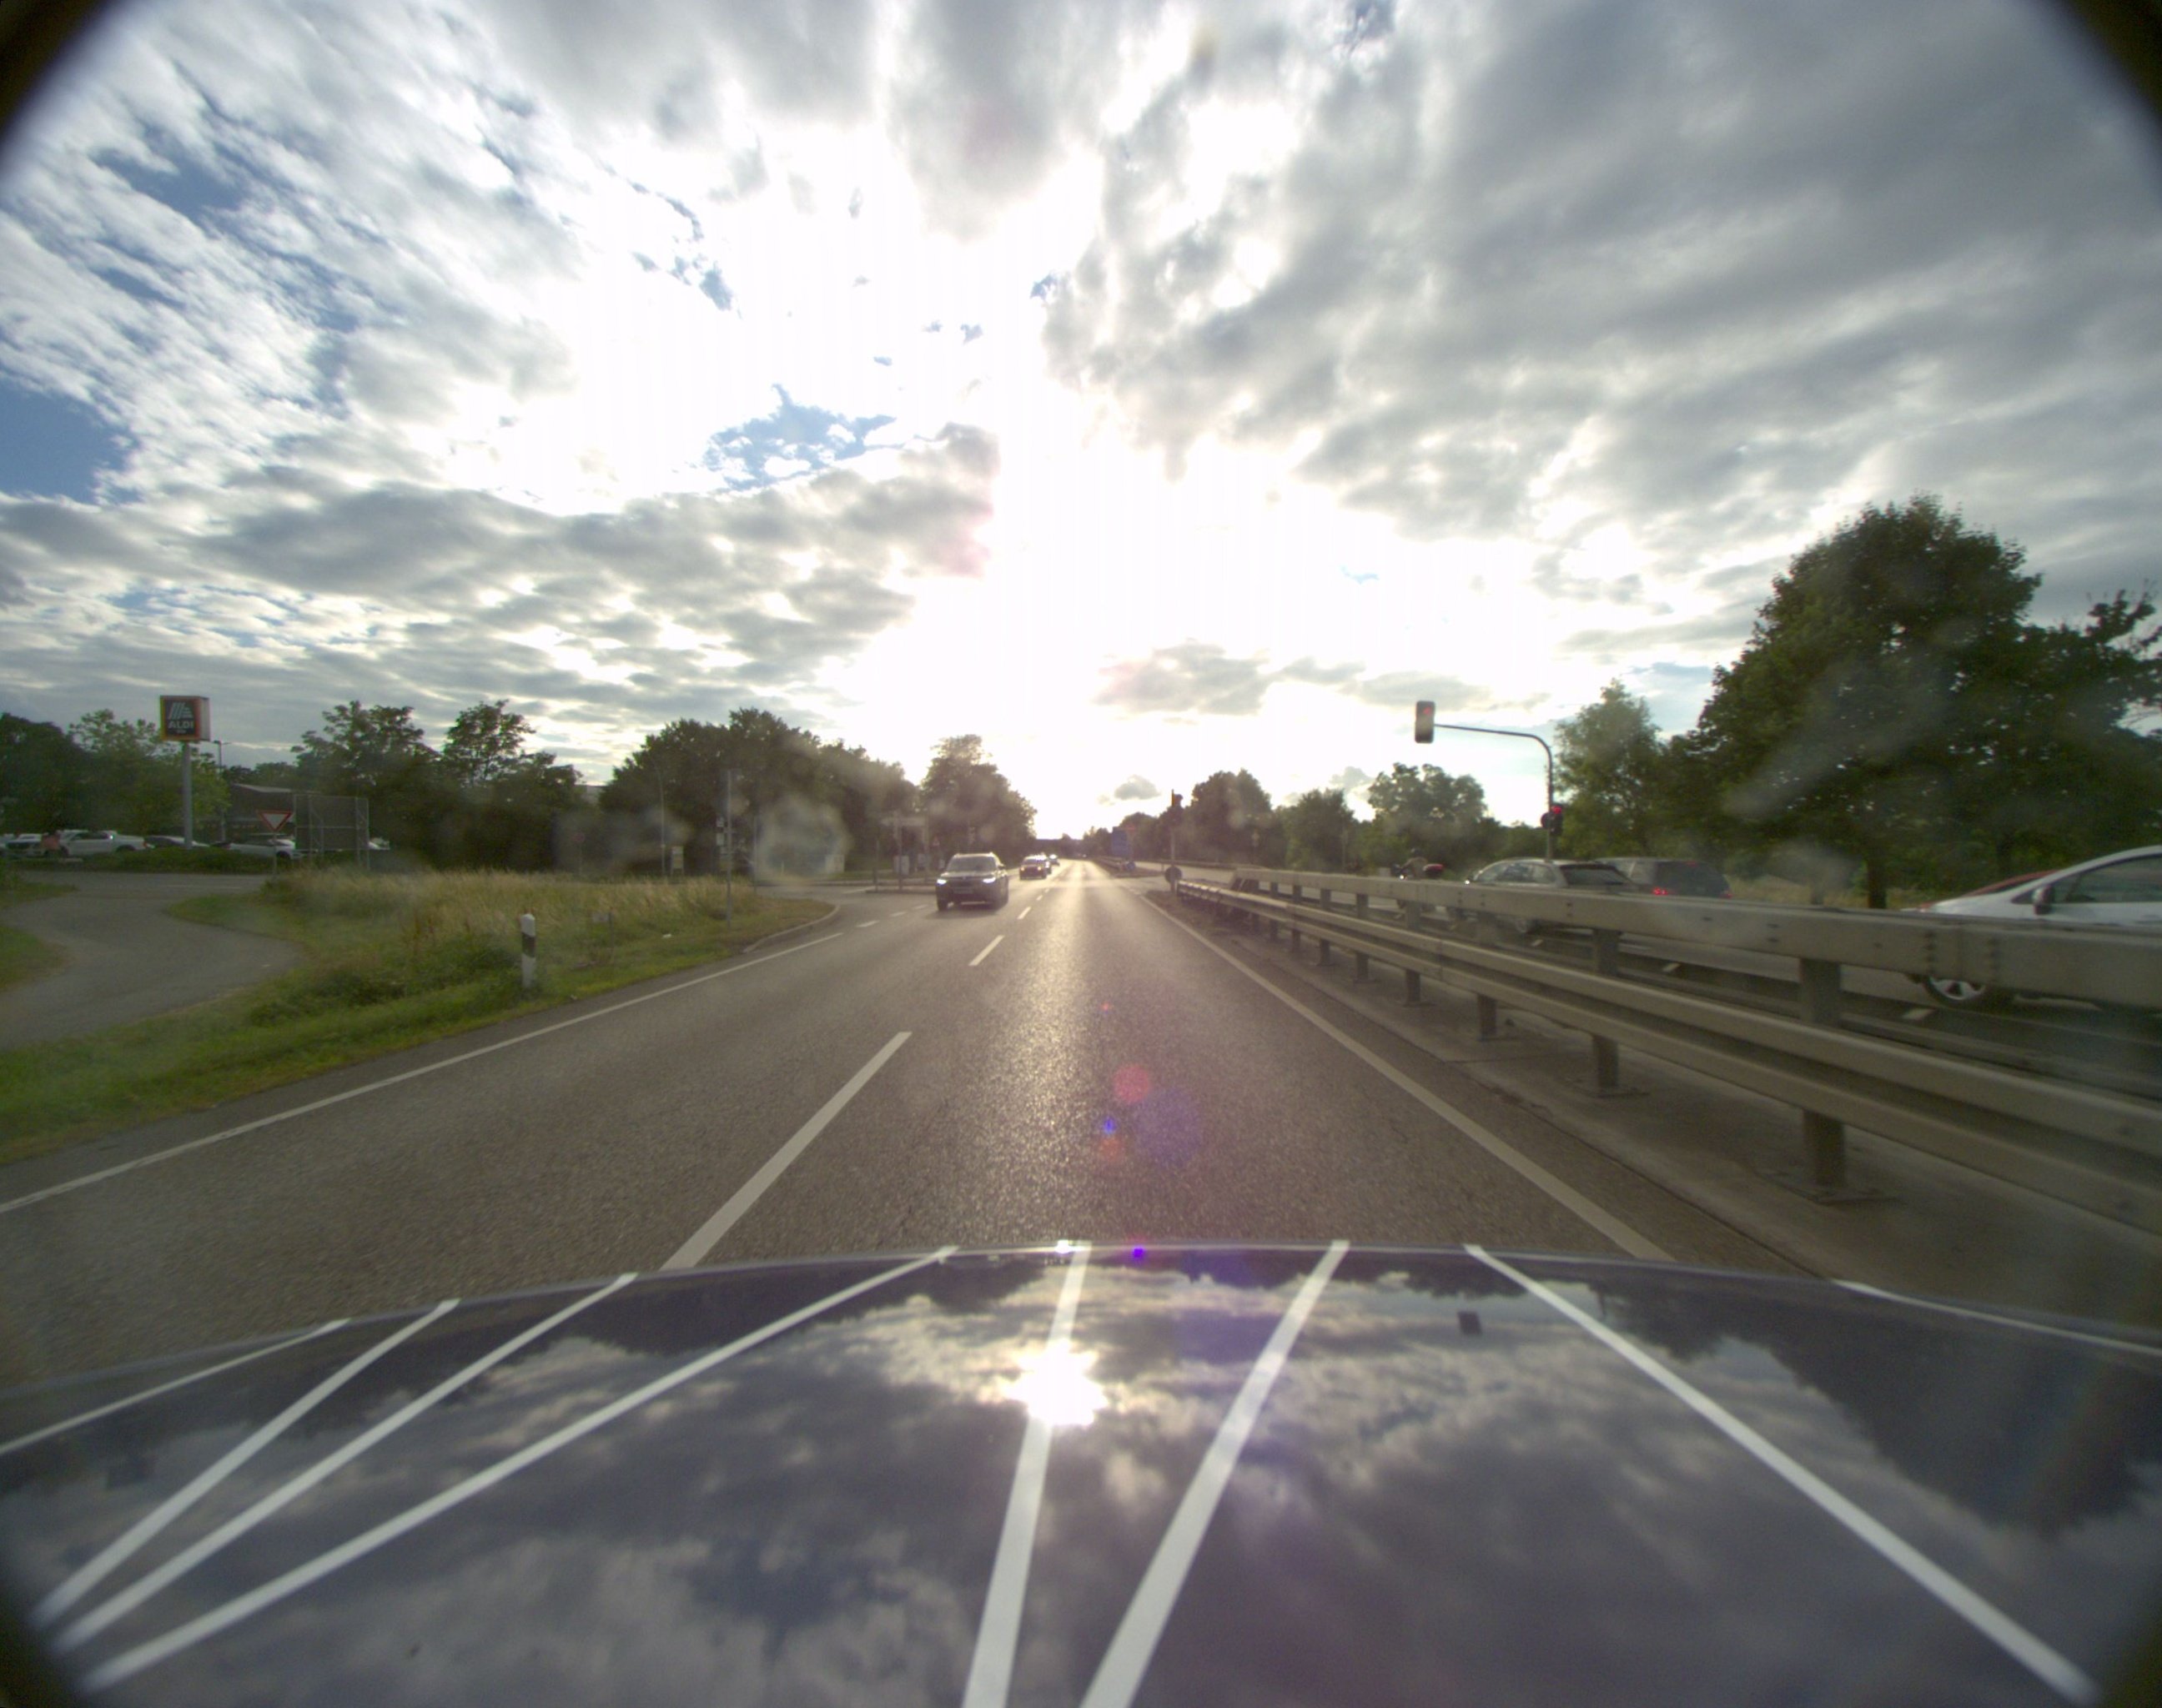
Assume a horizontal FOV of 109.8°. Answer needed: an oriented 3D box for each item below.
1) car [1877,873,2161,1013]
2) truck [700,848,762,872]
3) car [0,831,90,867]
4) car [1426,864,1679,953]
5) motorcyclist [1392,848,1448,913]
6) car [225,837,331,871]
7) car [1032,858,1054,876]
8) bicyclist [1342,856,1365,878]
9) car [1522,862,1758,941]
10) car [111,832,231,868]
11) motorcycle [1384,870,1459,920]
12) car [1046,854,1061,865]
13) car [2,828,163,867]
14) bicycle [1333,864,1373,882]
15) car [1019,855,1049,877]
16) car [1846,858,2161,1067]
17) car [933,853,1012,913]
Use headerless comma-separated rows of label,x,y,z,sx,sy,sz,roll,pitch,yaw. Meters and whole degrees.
car,12.888,1.026,9.288,1.912,1.456,4.184,0,0,0
truck,-31.185,0.548,67.751,4.679,1.985,1.819,-2,0,-36
car,-57.833,-0.289,41.539,1.960,1.873,4.302,2,0,-7
car,9.133,0.946,15.416,1.912,1.420,5.151,0,0,0
motorcyclist,9.207,0.694,20.707,0.918,1.699,1.276,1,1,0
car,-49.399,0.004,46.837,4.303,1.873,1.960,2,0,-3
car,-3.170,1.062,64.402,1.700,1.407,3.999,-2,0,-1
bicyclist,17.621,0.828,49.176,1.225,1.443,0.816,0,1,6
car,12.812,0.995,17.926,1.912,1.526,4.938,0,0,0
car,-51.719,-0.229,43.272,4.303,1.873,1.960,2,0,-3
motorcycle,9.211,1.067,20.712,0.918,1.196,2.478,1,1,0
car,-4.063,0.800,113.373,1.998,1.486,4.000,0,0,0
car,-55.206,-0.387,42.250,2.000,2.002,5.610,1,1,-7
bicycle,17.588,1.218,49.195,2.324,1.131,0.816,0,0,5
car,-3.170,0.795,52.294,1.666,1.424,3.995,-1,0,2
car,9.299,0.851,6.076,1.912,1.600,4.404,0,0,0
car,-3.303,0.834,23.950,1.849,1.640,4.480,-2,0,-1
